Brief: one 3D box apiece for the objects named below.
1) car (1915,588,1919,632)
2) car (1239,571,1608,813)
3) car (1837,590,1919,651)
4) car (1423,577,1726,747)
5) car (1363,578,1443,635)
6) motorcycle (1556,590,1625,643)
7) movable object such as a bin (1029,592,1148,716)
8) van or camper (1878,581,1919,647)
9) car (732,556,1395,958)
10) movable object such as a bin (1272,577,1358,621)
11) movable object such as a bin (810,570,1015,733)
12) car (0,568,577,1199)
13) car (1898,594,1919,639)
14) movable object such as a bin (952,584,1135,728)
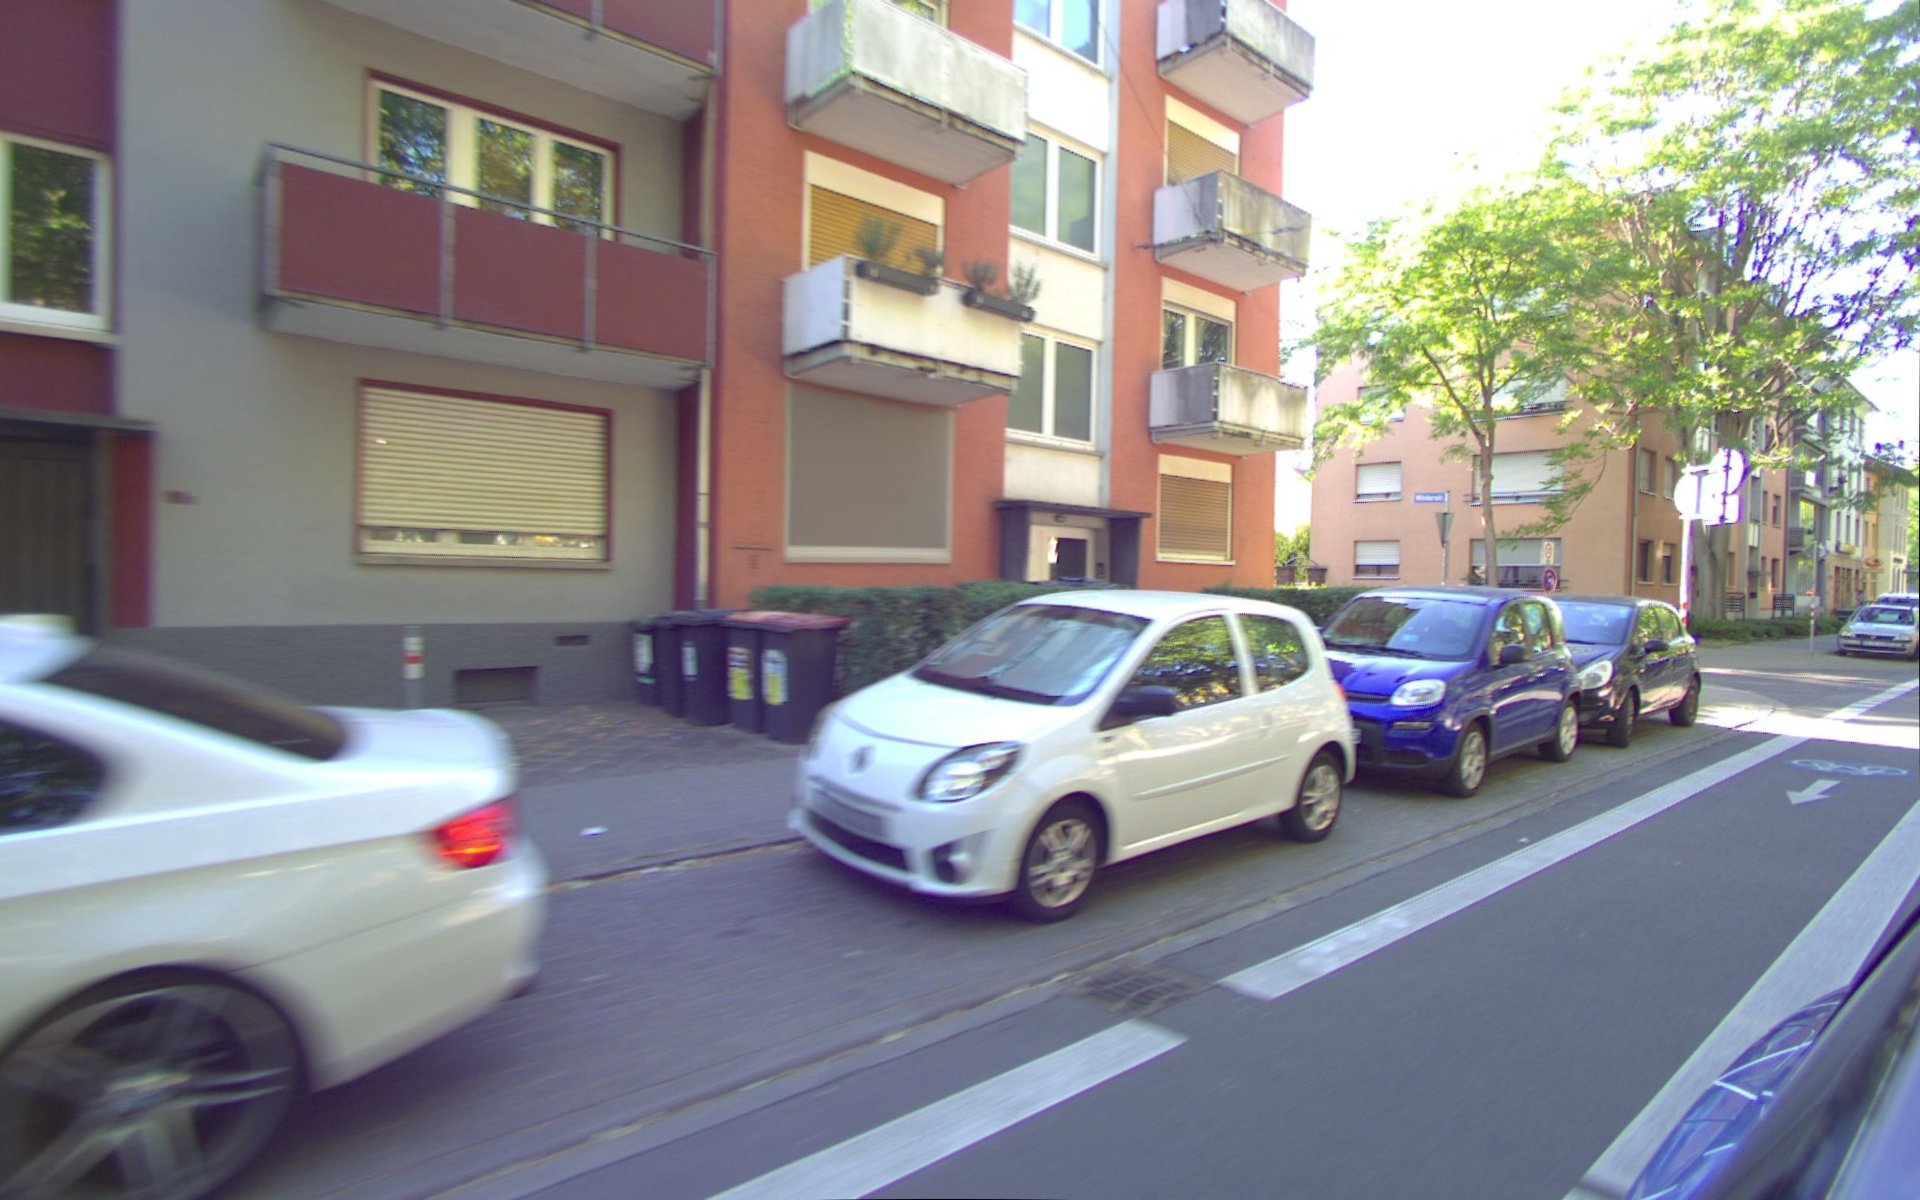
[{"bbox_3d":[37.186,0.422,37.776,4.261,1.591,1.772,0,4,-41],"label":"car"},{"bbox_3d":[4.046,0.583,8.561,3.688,1.610,1.528,-1,1,-42],"label":"car"},{"bbox_3d":[25.211,0.516,27.347,3.930,1.491,1.709,0,2,-41],"label":"car"},{"bbox_3d":[6.903,0.556,11.232,3.848,1.479,1.737,0,4,-41],"label":"car"},{"bbox_3d":[13.370,0.140,30.741,1.703,1.559,3.979,1,1,17],"label":"car"},{"bbox_3d":[16.226,0.402,26.033,2.214,1.314,0.680,0,2,-35],"label":"motorcycle"},{"bbox_3d":[1.478,0.584,11.719,0.761,1.343,1.155,0,1,-40],"label":"movable object such as a bin"},{"bbox_3d":[29.374,0.412,30.712,4.747,1.887,1.758,0,2,-42],"label":"van or camper"},{"bbox_3d":[0.784,0.584,5.834,3.767,1.545,1.595,-1,4,-40],"label":"car"},{"bbox_3d":[12.576,-0.060,35.940,1.355,1.436,2.543,-2,3,-43],"label":"movable object such as a bin"},{"bbox_3d":[-0.414,0.411,9.236,1.652,1.343,0.925,0,1,-40],"label":"movable object such as a bin"},{"bbox_3d":[-3.407,0.658,2.007,4.657,1.416,1.663,0,4,-41],"label":"car"},{"bbox_3d":[33.583,0.581,34.634,4.095,1.491,1.709,0,2,-41],"label":"car"},{"bbox_3d":[0.872,0.509,10.370,1.691,1.343,0.969,0,1,-40],"label":"movable object such as a bin"}]
